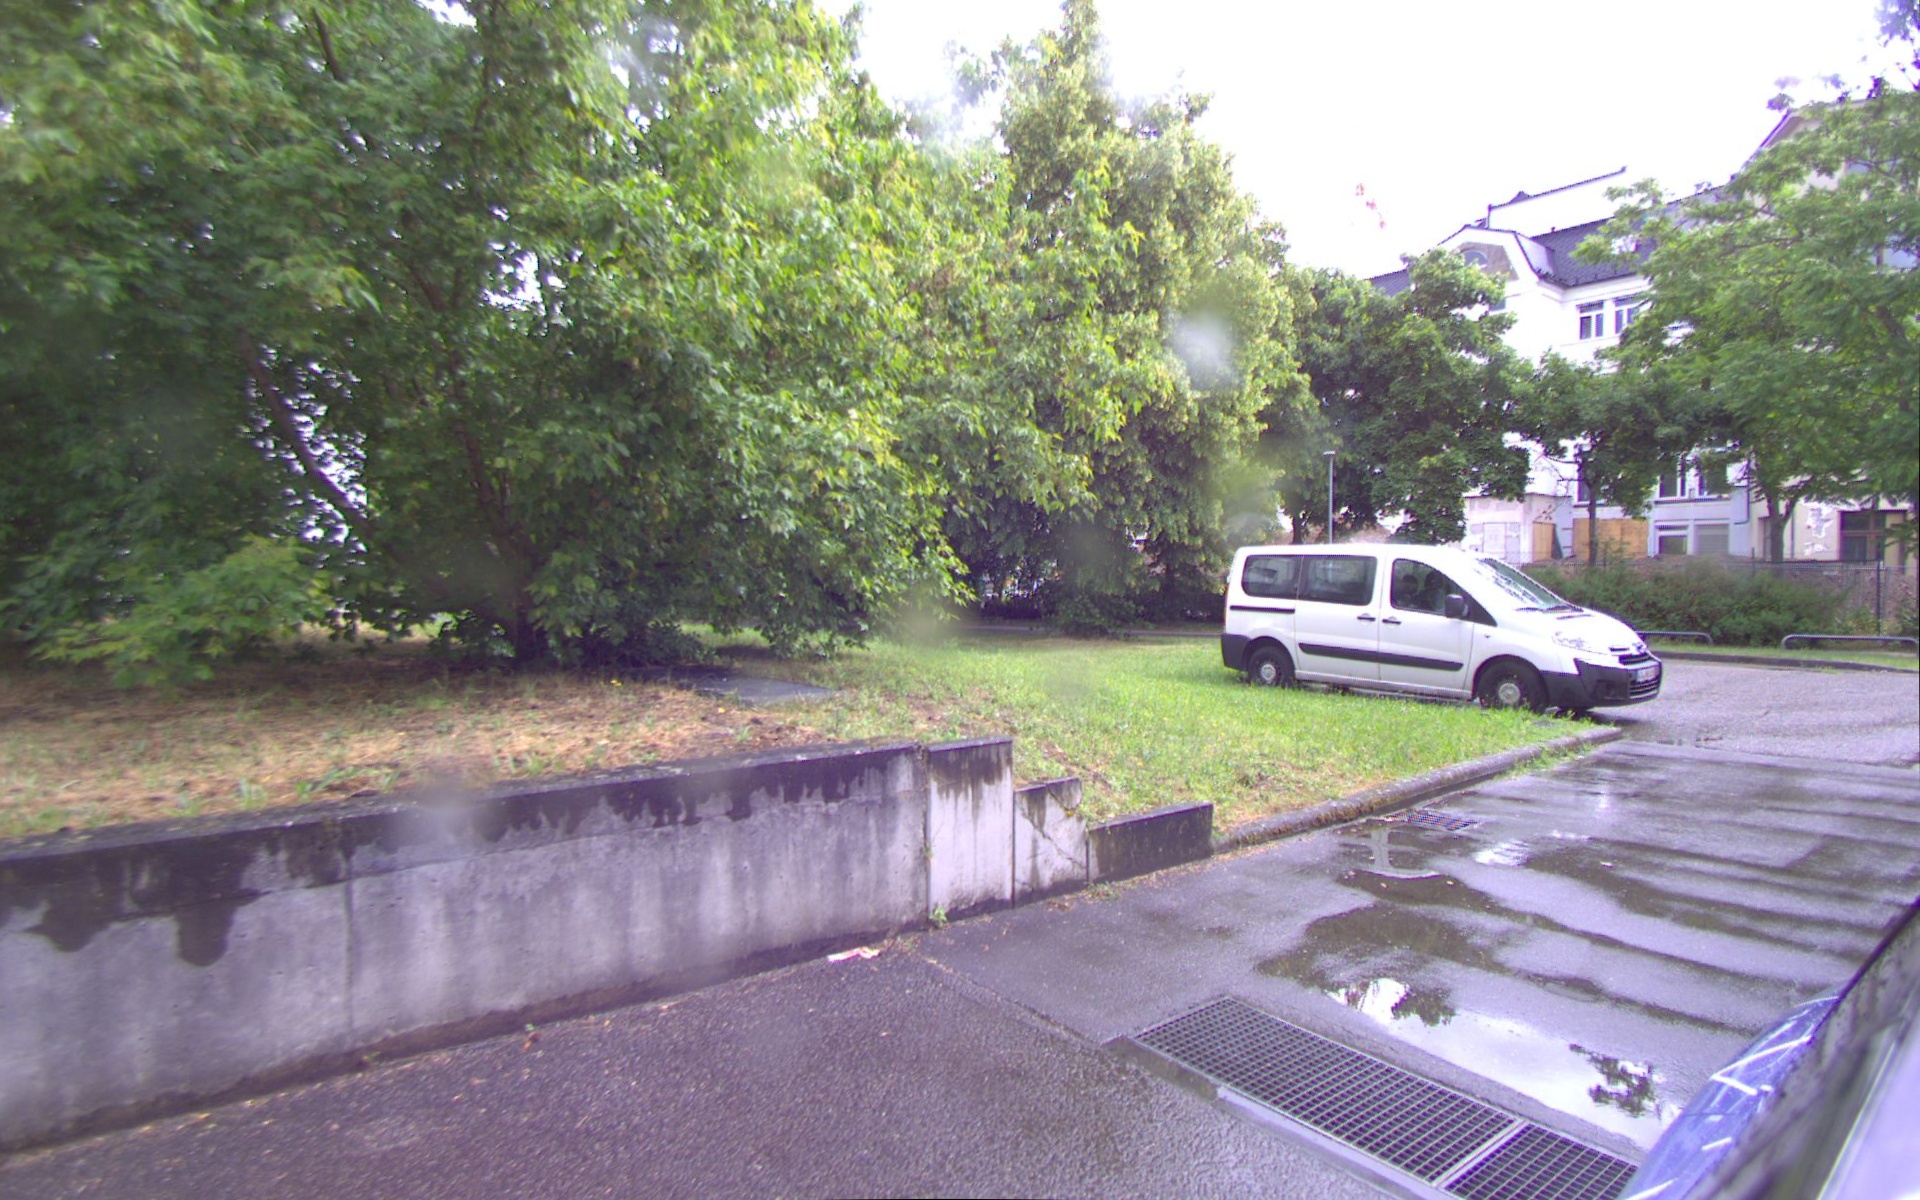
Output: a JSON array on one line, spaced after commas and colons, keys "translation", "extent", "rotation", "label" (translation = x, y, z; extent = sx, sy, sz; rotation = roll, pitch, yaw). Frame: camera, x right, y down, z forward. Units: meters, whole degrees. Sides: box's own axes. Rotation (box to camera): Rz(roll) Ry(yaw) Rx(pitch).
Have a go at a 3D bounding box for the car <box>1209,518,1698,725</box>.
[{"translation": [5.600, 0.165, 12.156], "extent": [2.061, 1.950, 4.887], "rotation": [-2, 1, -36], "label": "car"}]
